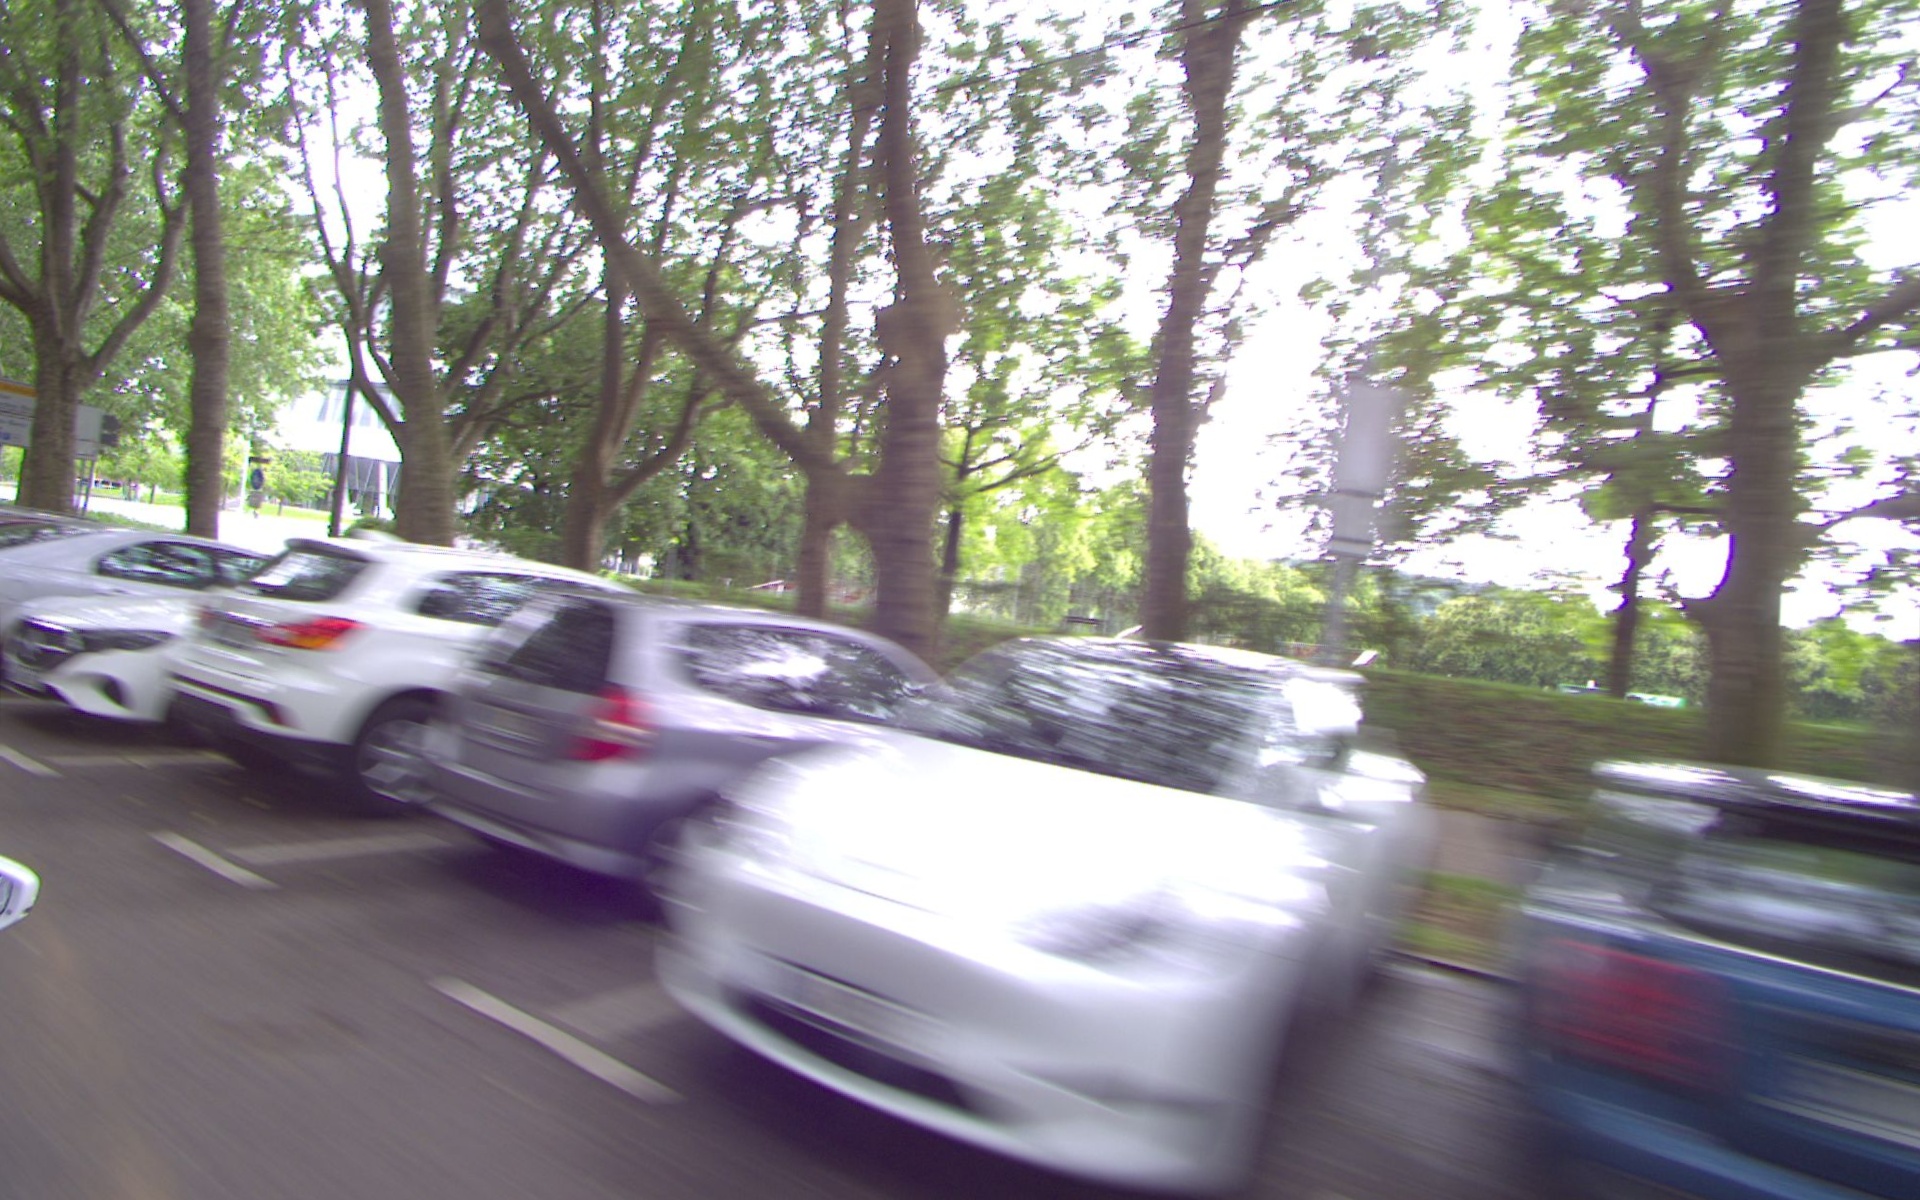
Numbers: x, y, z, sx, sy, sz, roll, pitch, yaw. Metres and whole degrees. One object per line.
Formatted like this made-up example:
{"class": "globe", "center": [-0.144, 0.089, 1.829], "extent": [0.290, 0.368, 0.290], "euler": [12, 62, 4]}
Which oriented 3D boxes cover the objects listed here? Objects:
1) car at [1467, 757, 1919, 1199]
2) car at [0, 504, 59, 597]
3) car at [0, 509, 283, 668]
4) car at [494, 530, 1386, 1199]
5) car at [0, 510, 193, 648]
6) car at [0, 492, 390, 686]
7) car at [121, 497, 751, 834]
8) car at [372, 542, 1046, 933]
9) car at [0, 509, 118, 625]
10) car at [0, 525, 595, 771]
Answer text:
{"class": "car", "center": [2.751, 1.451, 3.622], "extent": [1.493, 1.386, 3.656], "euler": [7, -2, 28]}
{"class": "car", "center": [-17.651, -1.067, 16.819], "extent": [1.529, 1.525, 3.434], "euler": [7, -2, 30]}
{"class": "car", "center": [-9.659, -0.153, 10.905], "extent": [1.493, 1.440, 3.435], "euler": [7, -2, 28]}
{"class": "car", "center": [0.547, 0.916, 4.255], "extent": [1.823, 1.614, 4.179], "euler": [7, -2, 28]}
{"class": "car", "center": [-11.575, -0.357, 12.016], "extent": [1.494, 1.440, 3.431], "euler": [7, -2, 33]}
{"class": "car", "center": [-7.816, -0.095, 9.485], "extent": [1.951, 1.440, 3.656], "euler": [7, -2, 28]}
{"class": "car", "center": [-3.366, 0.495, 7.228], "extent": [1.493, 1.686, 3.656], "euler": [7, -2, 28]}
{"class": "car", "center": [-1.192, 0.753, 6.120], "extent": [1.618, 1.536, 3.649], "euler": [7, -3, 36]}
{"class": "car", "center": [-13.754, -0.625, 13.255], "extent": [1.493, 1.440, 3.688], "euler": [7, -2, 30]}
{"class": "car", "center": [-5.014, 0.457, 8.176], "extent": [1.493, 1.426, 3.656], "euler": [7, -2, 28]}
